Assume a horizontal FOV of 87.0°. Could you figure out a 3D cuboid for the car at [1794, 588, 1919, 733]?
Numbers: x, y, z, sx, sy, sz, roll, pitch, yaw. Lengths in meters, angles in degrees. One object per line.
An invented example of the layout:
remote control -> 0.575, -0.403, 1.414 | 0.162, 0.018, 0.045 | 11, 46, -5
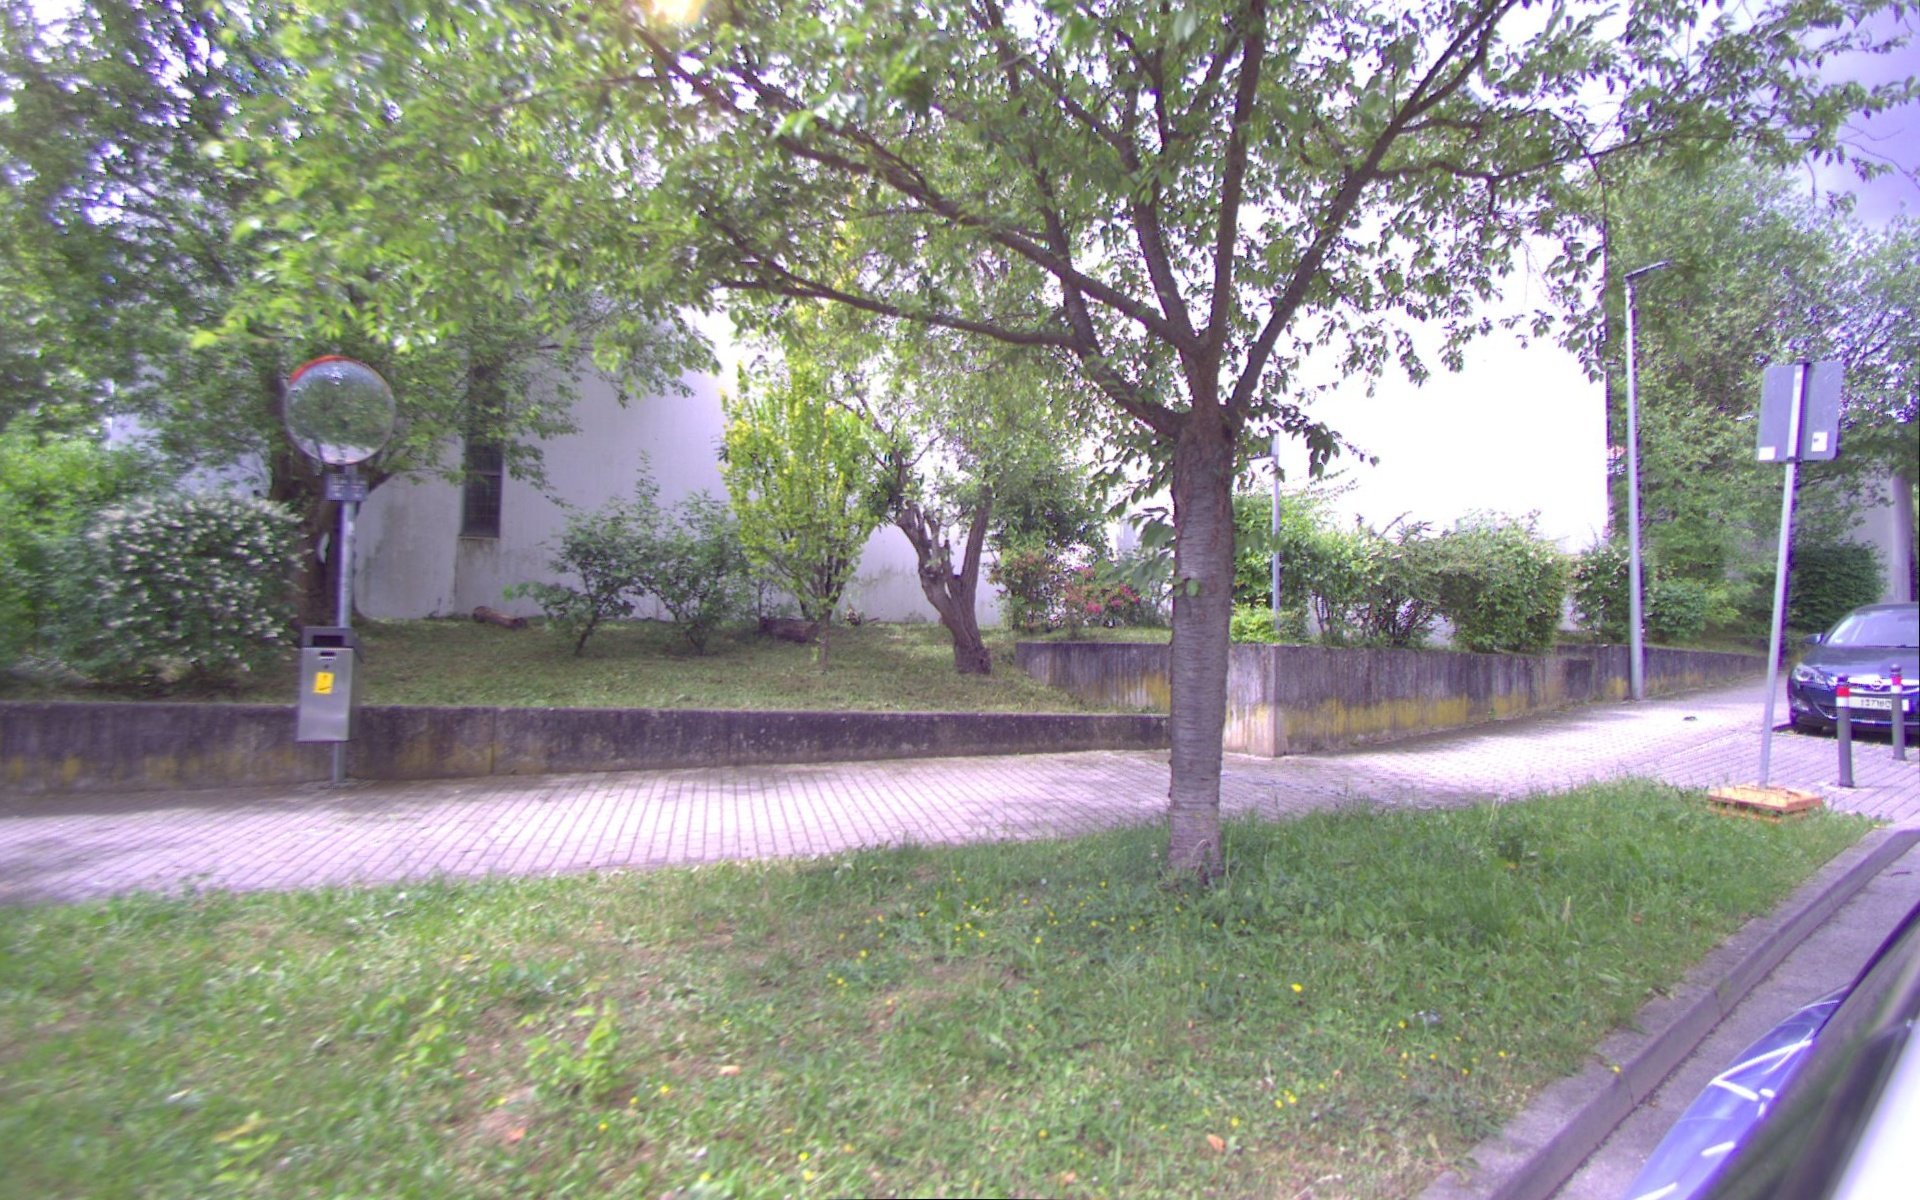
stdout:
car -> 11.003, 0.598, 11.339 | 3.926, 1.438, 1.695 | 0, 0, -37
